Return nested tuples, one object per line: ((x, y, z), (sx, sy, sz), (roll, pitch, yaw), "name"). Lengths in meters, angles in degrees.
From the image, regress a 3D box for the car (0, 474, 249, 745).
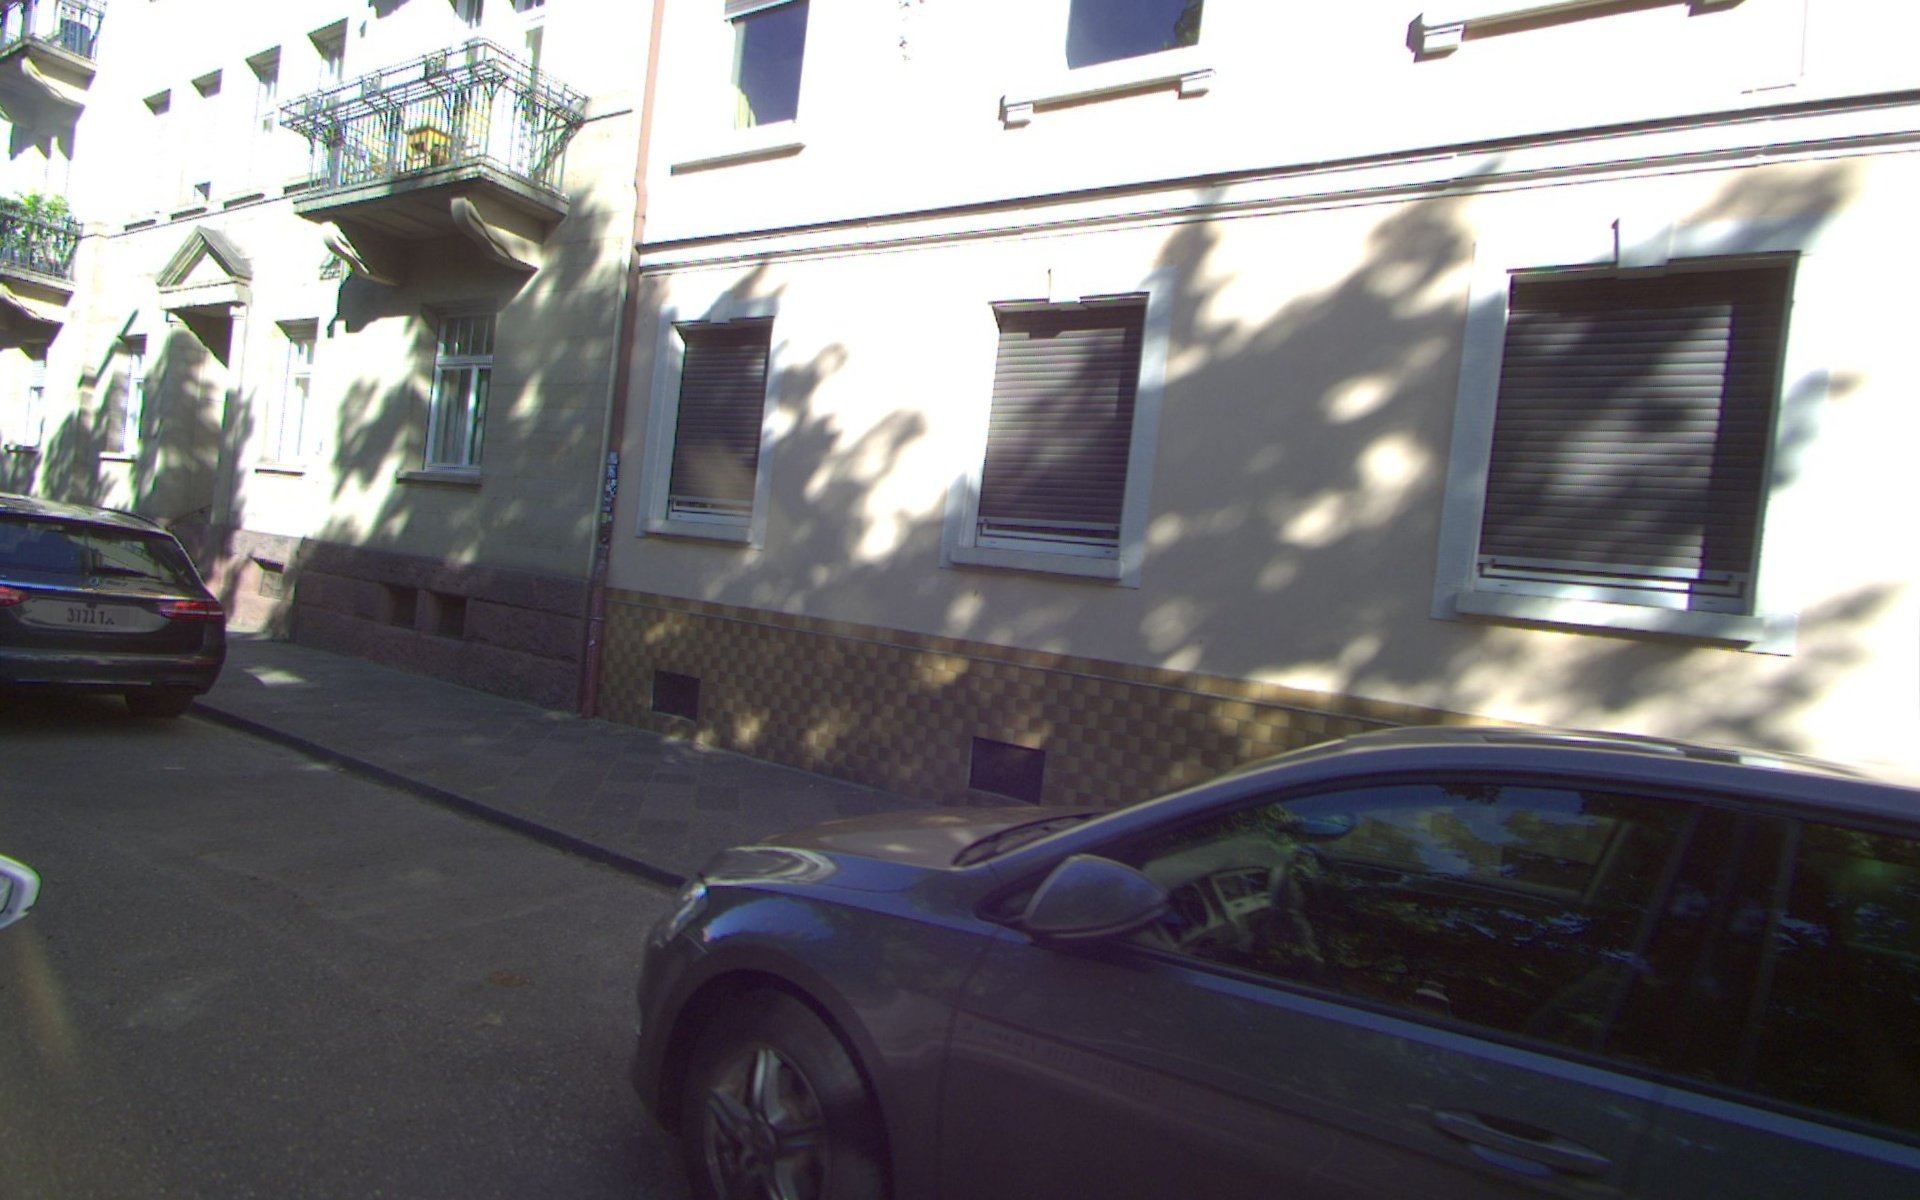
((-7.254, -0.140, 7.419), (4.250, 1.584, 1.805), (8, 2, 33), "car")

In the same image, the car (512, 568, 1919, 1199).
((1.013, 0.940, 2.293), (3.939, 1.485, 1.694), (7, 0, 32), "car")
